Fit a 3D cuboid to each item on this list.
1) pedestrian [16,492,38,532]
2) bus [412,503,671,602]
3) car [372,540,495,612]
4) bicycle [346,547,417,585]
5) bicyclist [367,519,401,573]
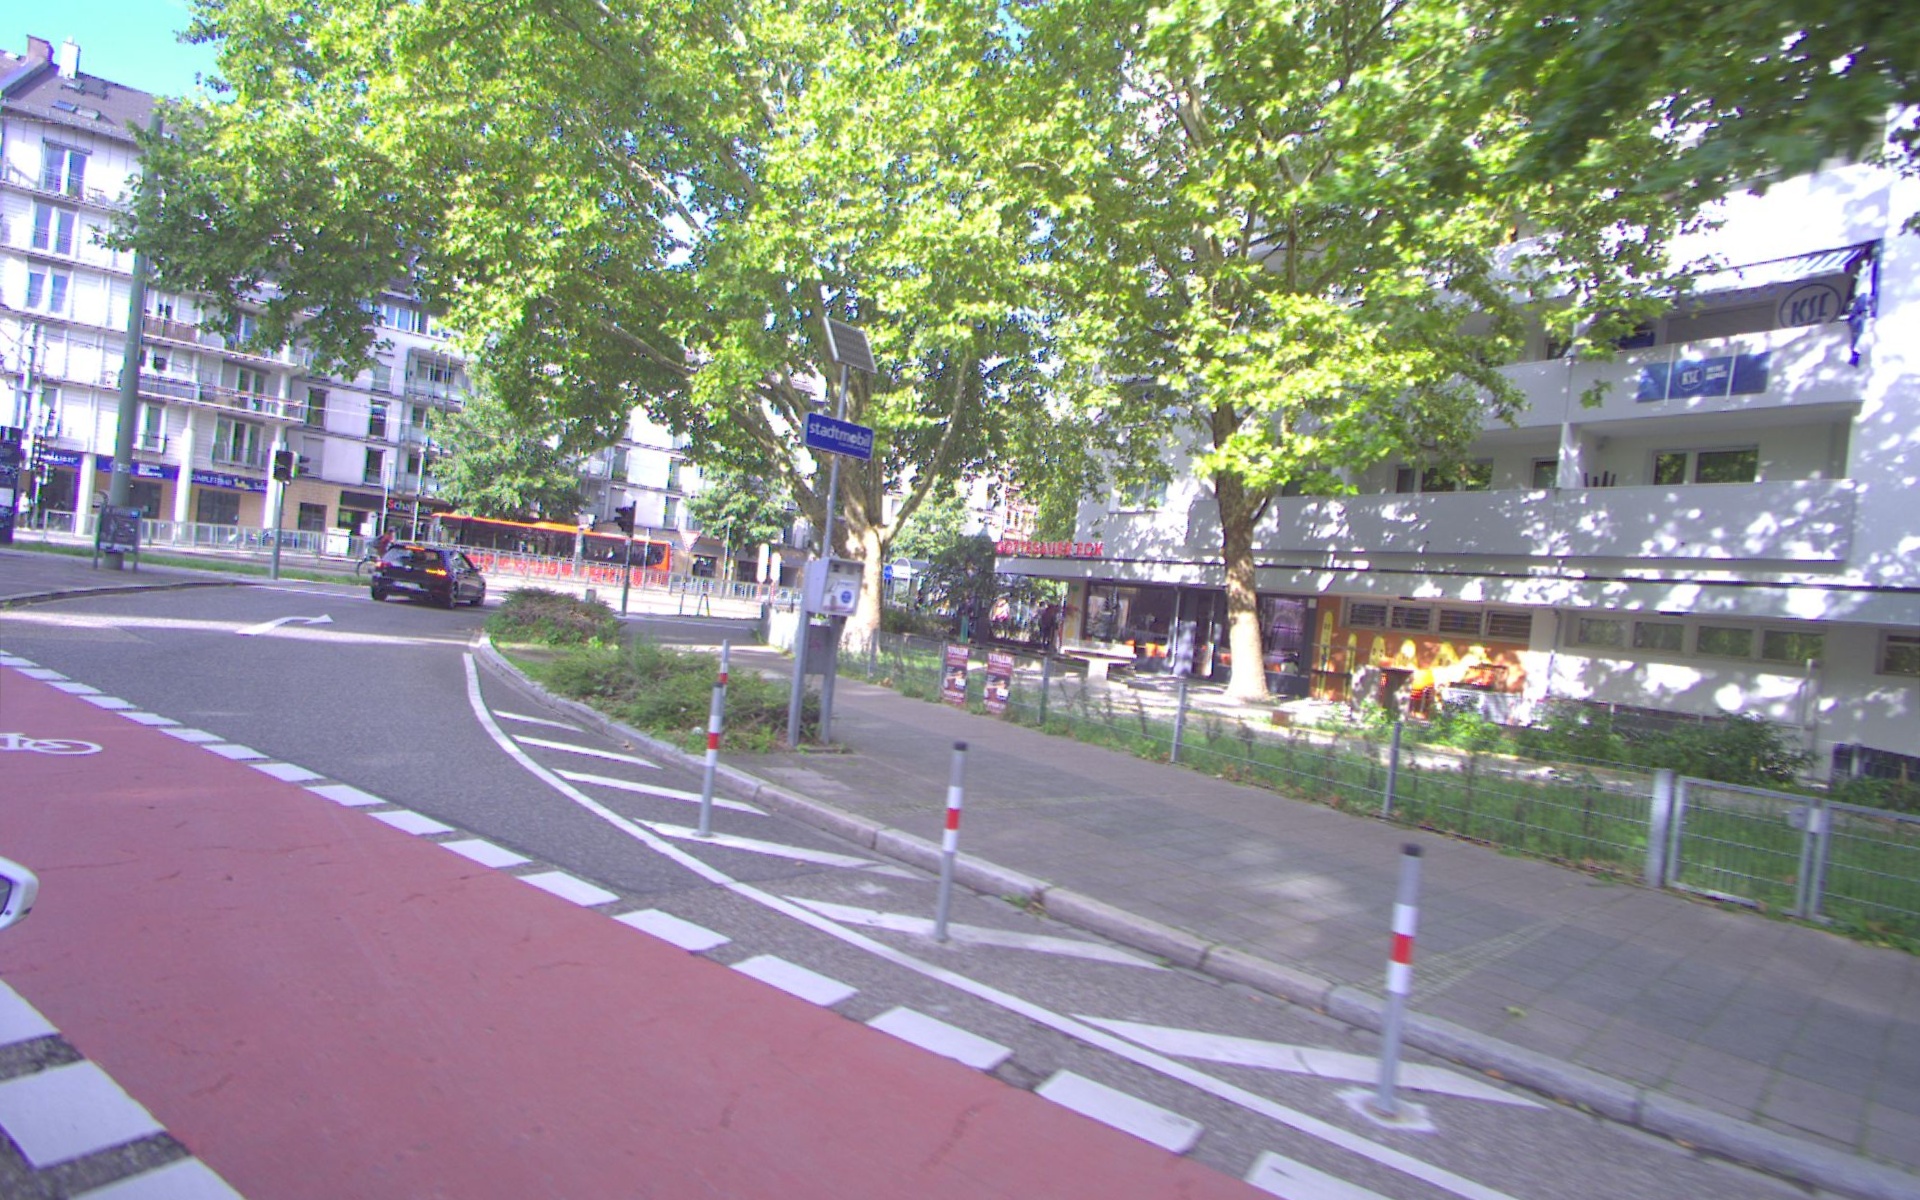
[{"bbox_3d":[-42.969,-4.045,46.344,0.493,1.734,0.522,8,-2,-35],"label":"pedestrian"},{"bbox_3d":[-22.017,-2.379,53.648,12.195,3.592,2.999,7,0,-37],"label":"bus"},{"bbox_3d":[-12.951,-0.577,24.999,1.730,1.430,3.988,7,-1,-15],"label":"car"},{"bbox_3d":[-18.102,-1.071,31.498,1.818,0.967,0.568,7,0,-34],"label":"bicycle"},{"bbox_3d":[-18.025,-1.692,31.487,0.773,1.599,0.620,6,1,-34],"label":"bicyclist"}]
